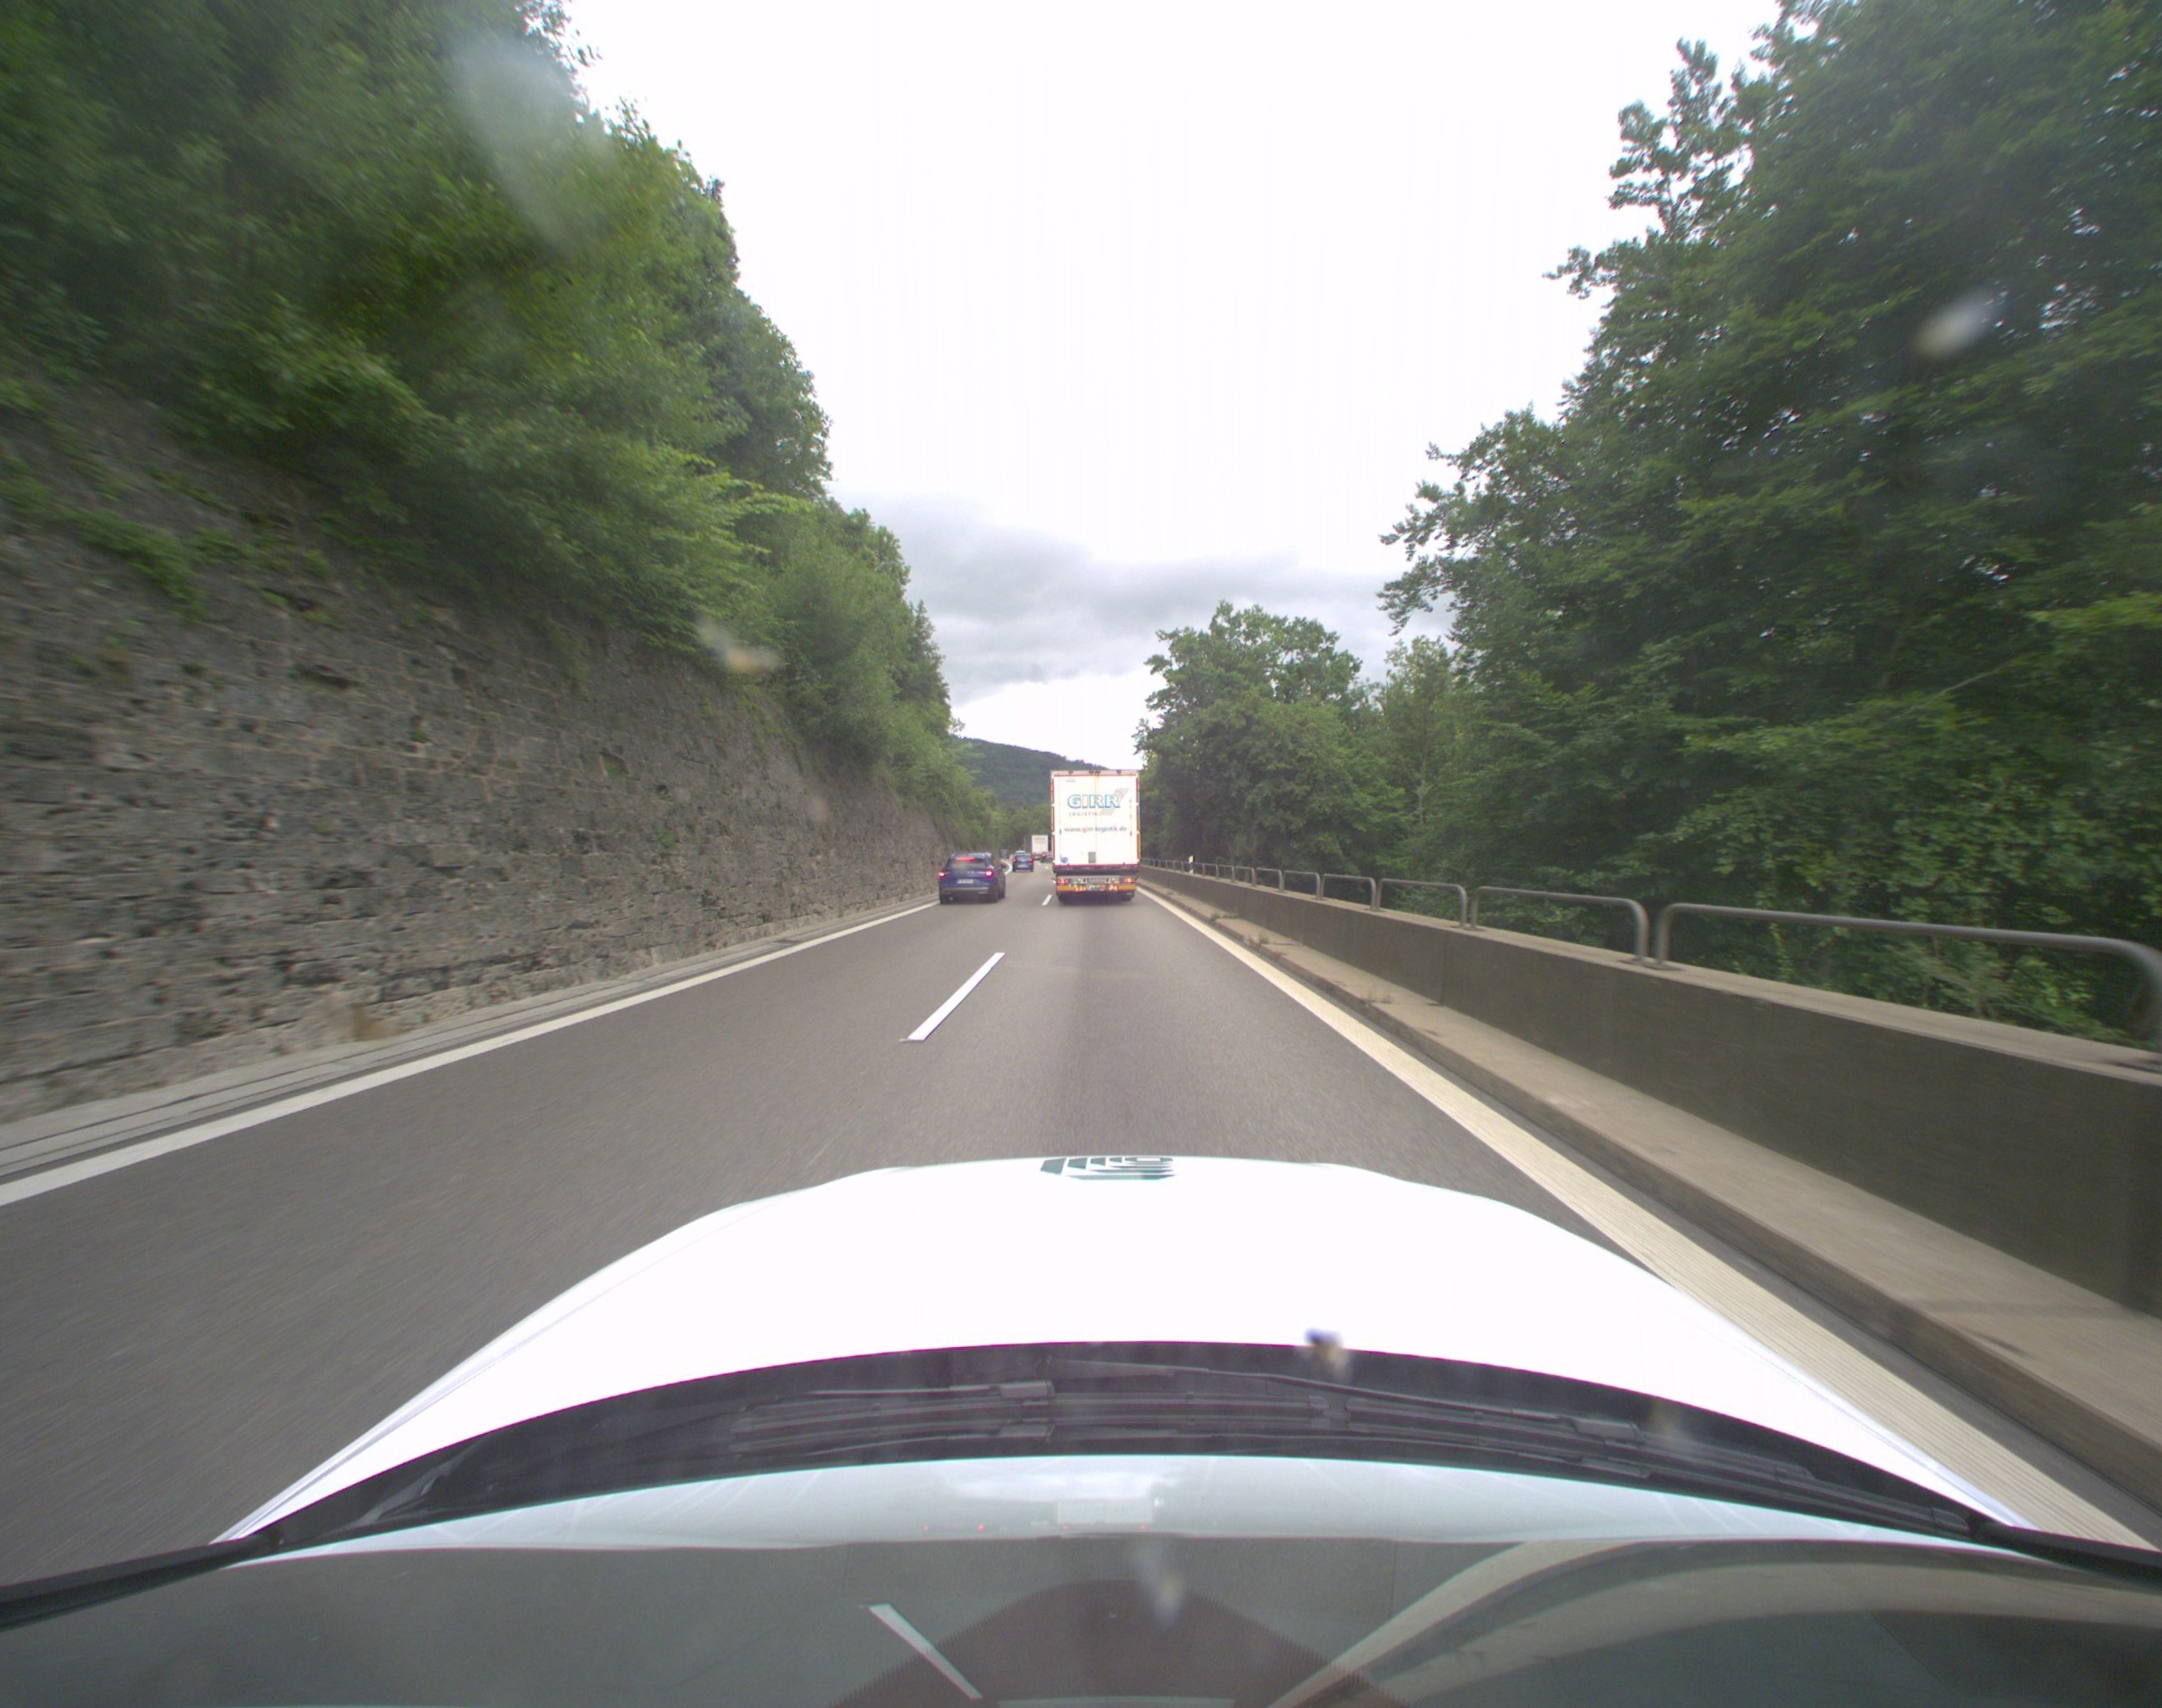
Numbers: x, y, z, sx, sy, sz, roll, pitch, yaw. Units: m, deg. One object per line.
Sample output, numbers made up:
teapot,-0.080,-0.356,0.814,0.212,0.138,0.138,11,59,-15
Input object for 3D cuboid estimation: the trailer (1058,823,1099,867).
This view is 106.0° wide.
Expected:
trailer,-0.336,-0.634,61.815,2.208,3.048,11.120,0,0,-5

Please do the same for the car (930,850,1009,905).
car,-3.654,0.733,27.544,1.987,1.632,5.007,-1,0,0

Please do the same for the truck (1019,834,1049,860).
truck,-7.513,-1.077,128.717,2.637,3.857,12.305,-1,0,-13

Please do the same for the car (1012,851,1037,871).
car,-4.604,0.551,66.261,1.990,1.596,4.346,0,0,-5

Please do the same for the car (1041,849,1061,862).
car,-4.021,0.219,107.055,2.061,1.654,3.986,-1,0,-10

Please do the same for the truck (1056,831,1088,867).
truck,-0.821,-0.429,67.700,2.206,2.851,4.993,0,0,-6

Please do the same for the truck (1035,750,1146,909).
truck,0.431,-0.757,30.771,3.073,4.464,15.159,-1,0,1

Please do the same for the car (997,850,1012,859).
car,-13.473,0.125,143.692,1.900,1.550,4.227,0,0,-15

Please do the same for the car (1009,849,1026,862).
car,-8.220,0.181,105.150,1.896,1.550,4.236,0,0,-9
